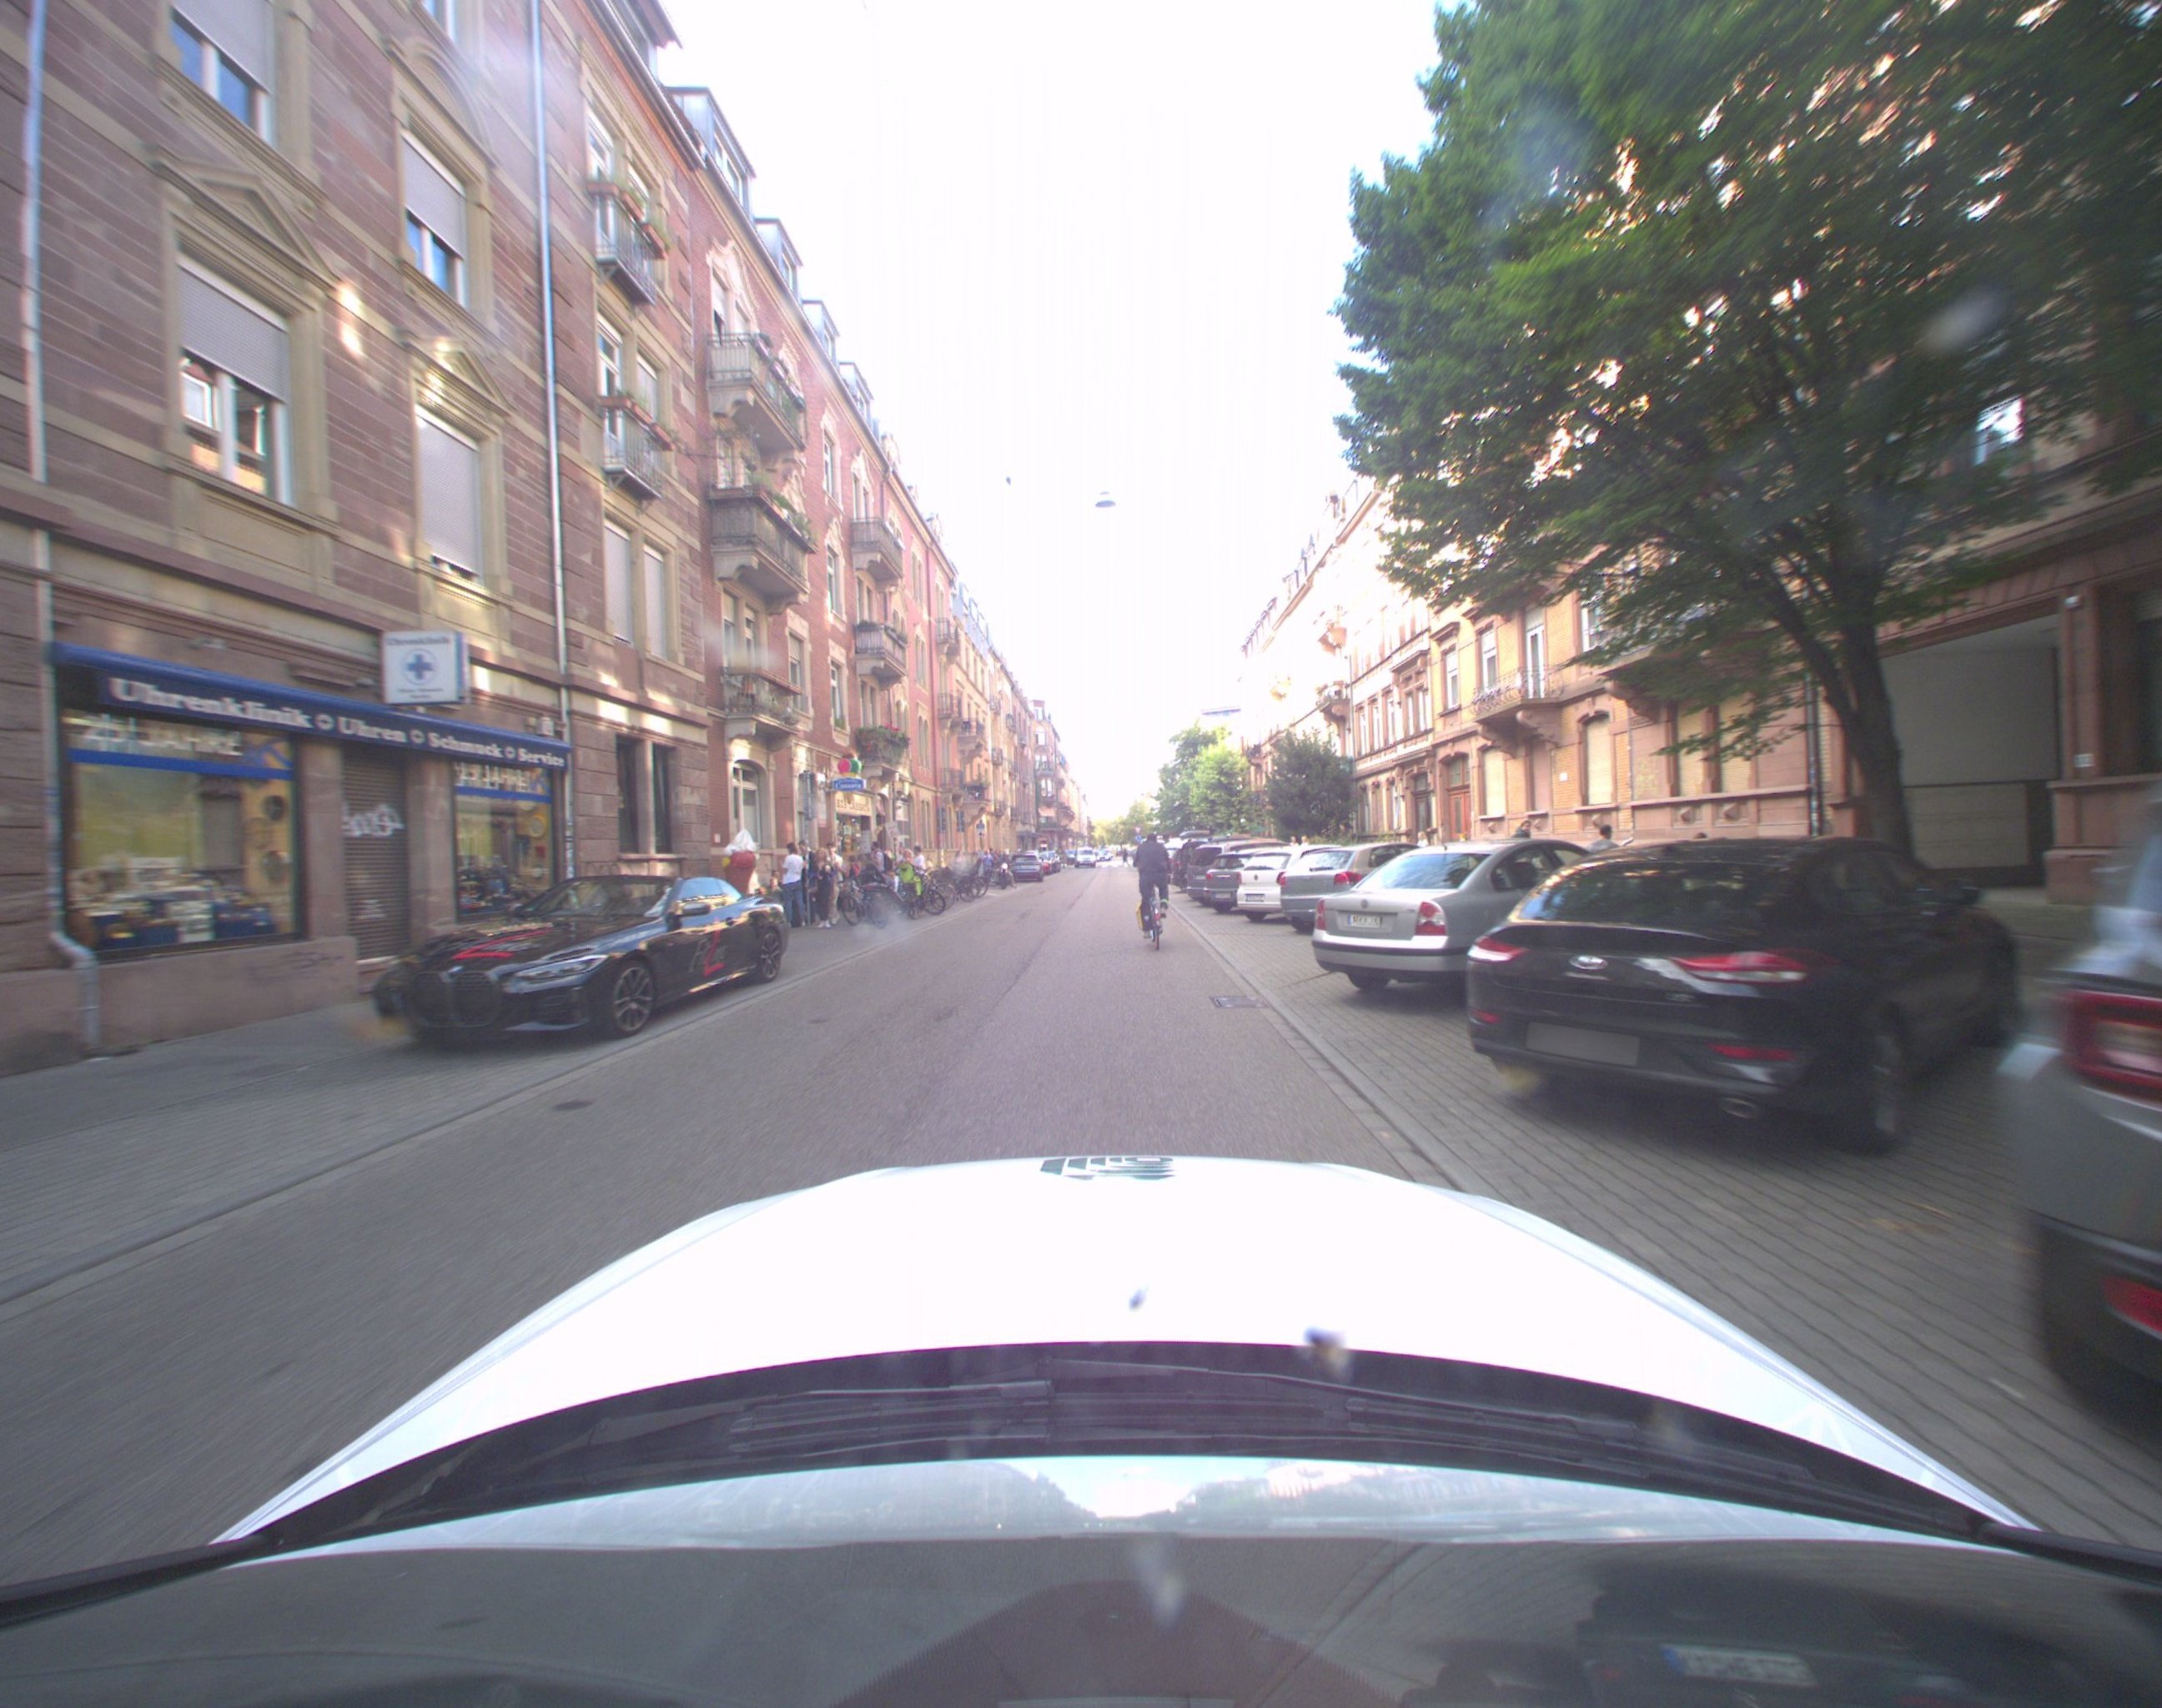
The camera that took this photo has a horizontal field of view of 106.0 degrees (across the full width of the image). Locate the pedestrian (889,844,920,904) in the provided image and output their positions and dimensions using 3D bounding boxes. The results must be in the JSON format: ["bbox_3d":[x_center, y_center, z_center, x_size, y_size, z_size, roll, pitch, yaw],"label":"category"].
[{"bbox_3d":[-5.261,0.588,24.313,0.600,1.751,0.728,-1,0,13],"label":"pedestrian"}]

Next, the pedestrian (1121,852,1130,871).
[{"bbox_3d":[4.223,0.698,77.901,0.624,1.739,0.779,-2,0,14],"label":"pedestrian"}]

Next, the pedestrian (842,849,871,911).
[{"bbox_3d":[-5.931,0.677,21.556,0.551,1.616,0.584,-1,0,2],"label":"pedestrian"}]

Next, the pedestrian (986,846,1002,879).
[{"bbox_3d":[-4.916,0.466,46.043,0.752,1.808,0.864,-1,0,6],"label":"pedestrian"}]

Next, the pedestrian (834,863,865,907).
[{"bbox_3d":[-6.498,0.876,22.895,0.706,1.196,0.585,-1,0,-2],"label":"pedestrian"}]

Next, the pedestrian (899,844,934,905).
[{"bbox_3d":[-4.775,0.586,23.698,0.600,1.751,0.949,-1,0,14],"label":"pedestrian"}]

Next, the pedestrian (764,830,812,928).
[{"bbox_3d":[-6.159,0.521,17.132,0.637,2.013,0.634,-1,0,30],"label":"pedestrian"}]

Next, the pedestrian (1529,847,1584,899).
[{"bbox_3d":[9.271,0.361,15.895,0.552,0.961,0.796,-3,-1,0],"label":"pedestrian"}]

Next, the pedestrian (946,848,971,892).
[{"bbox_3d":[-4.729,0.610,31.518,0.910,1.661,0.826,-1,0,-6],"label":"pedestrian"}]

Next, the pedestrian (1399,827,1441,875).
[{"bbox_3d":[10.945,-0.101,26.336,0.926,1.497,0.811,-3,0,-5],"label":"pedestrian"}]

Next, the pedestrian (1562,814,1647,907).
[{"bbox_3d":[8.885,0.097,13.835,0.723,1.502,0.993,-3,1,-36],"label":"pedestrian"}]

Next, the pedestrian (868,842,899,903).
[{"bbox_3d":[-6.196,0.564,25.553,0.765,1.854,0.659,-1,0,-29],"label":"pedestrian"}]

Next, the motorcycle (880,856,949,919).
[{"bbox_3d":[-3.957,0.767,19.517,0.701,1.384,2.033,-1,0,17],"label":"motorcycle"}]

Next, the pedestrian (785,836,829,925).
[{"bbox_3d":[-5.979,0.562,17.783,0.640,1.892,0.605,-1,0,32],"label":"pedestrian"}]

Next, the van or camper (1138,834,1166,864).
[{"bbox_3d":[7.656,-0.570,88.430,2.523,3.037,4.458,-2,0,0],"label":"van or camper"}]

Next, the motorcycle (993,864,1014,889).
[{"bbox_3d":[-3.264,0.928,34.442,0.792,0.995,2.496,-1,0,-4],"label":"motorcycle"}]

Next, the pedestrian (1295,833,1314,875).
[{"bbox_3d":[9.028,0.009,32.940,0.571,1.659,0.633,-1,0,2],"label":"pedestrian"}]

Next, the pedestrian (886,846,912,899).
[{"bbox_3d":[-6.004,0.603,26.877,0.667,1.696,0.580,-1,0,-29],"label":"pedestrian"}]

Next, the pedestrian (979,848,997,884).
[{"bbox_3d":[-4.377,0.543,38.312,0.683,1.661,0.546,-1,0,-28],"label":"pedestrian"}]

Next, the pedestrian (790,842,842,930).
[{"bbox_3d":[-5.466,0.642,16.836,0.753,1.759,0.670,-1,0,32],"label":"pedestrian"}]

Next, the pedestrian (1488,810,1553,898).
[{"bbox_3d":[8.561,0.011,15.902,0.729,1.634,0.833,-3,-1,0],"label":"pedestrian"}]

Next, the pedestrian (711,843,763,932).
[{"bbox_3d":[-7.016,0.665,16.611,0.681,1.759,0.670,-1,0,32],"label":"pedestrian"}]

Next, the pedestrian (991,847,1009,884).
[{"bbox_3d":[-3.794,0.555,38.164,0.567,1.709,0.661,-1,0,-33],"label":"pedestrian"}]

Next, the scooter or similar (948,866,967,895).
[{"bbox_3d":[-4.667,1.005,30.734,0.604,1.055,0.921,-1,0,-3],"label":"scooter or similar"}]

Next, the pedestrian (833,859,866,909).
[{"bbox_3d":[-6.314,0.805,22.212,0.721,1.313,0.606,-1,0,-2],"label":"pedestrian"}]

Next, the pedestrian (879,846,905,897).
[{"bbox_3d":[-6.408,0.571,27.629,0.661,1.696,0.764,-1,0,2],"label":"pedestrian"}]

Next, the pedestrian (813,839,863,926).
[{"bbox_3d":[-5.210,0.601,17.490,0.753,1.818,0.670,-1,0,32],"label":"pedestrian"}]

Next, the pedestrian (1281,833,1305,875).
[{"bbox_3d":[8.738,0.009,33.572,0.652,1.695,0.691,-1,0,-41],"label":"pedestrian"}]

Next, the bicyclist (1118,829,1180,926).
[{"bbox_3d":[1.075,0.359,12.989,0.930,1.484,0.747,-1,0,2],"label":"bicyclist"}]

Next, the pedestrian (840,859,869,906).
[{"bbox_3d":[-6.510,0.808,23.417,0.715,1.313,0.439,-1,0,-2],"label":"pedestrian"}]

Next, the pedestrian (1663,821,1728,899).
[{"bbox_3d":[10.395,0.108,13.790,0.573,1.280,0.712,0,-1,-36],"label":"pedestrian"}]
